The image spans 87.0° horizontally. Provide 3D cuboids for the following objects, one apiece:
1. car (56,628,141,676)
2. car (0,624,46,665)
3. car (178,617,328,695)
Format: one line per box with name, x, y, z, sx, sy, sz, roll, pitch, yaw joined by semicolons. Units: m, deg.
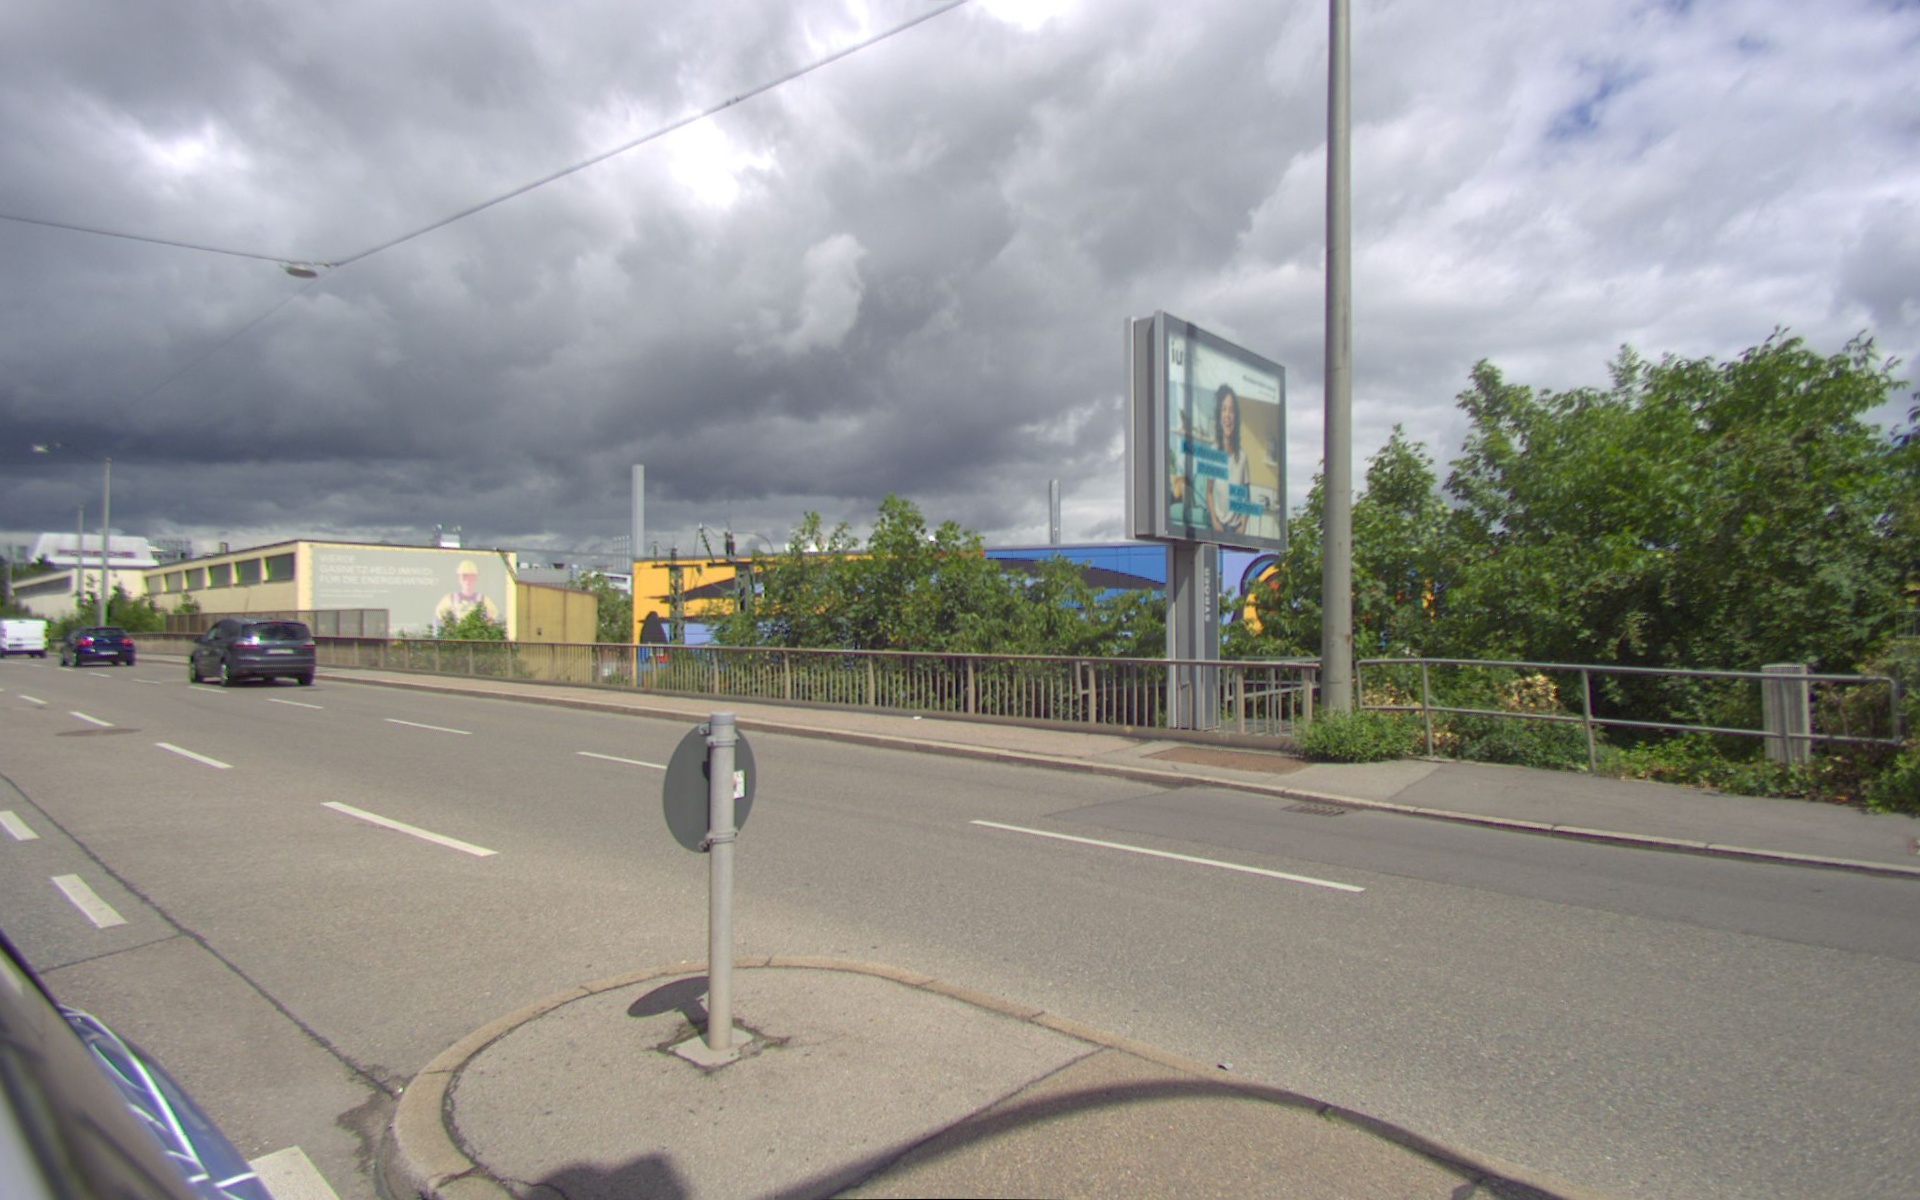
car;-31.719;1.890;37.226;3.998;1.630;1.837;-2;-2;41
car;-49.768;2.314;53.172;5.646;2.029;1.872;-2;-2;41
car;-17.564;1.391;25.068;4.623;1.715;1.891;-2;-7;41
